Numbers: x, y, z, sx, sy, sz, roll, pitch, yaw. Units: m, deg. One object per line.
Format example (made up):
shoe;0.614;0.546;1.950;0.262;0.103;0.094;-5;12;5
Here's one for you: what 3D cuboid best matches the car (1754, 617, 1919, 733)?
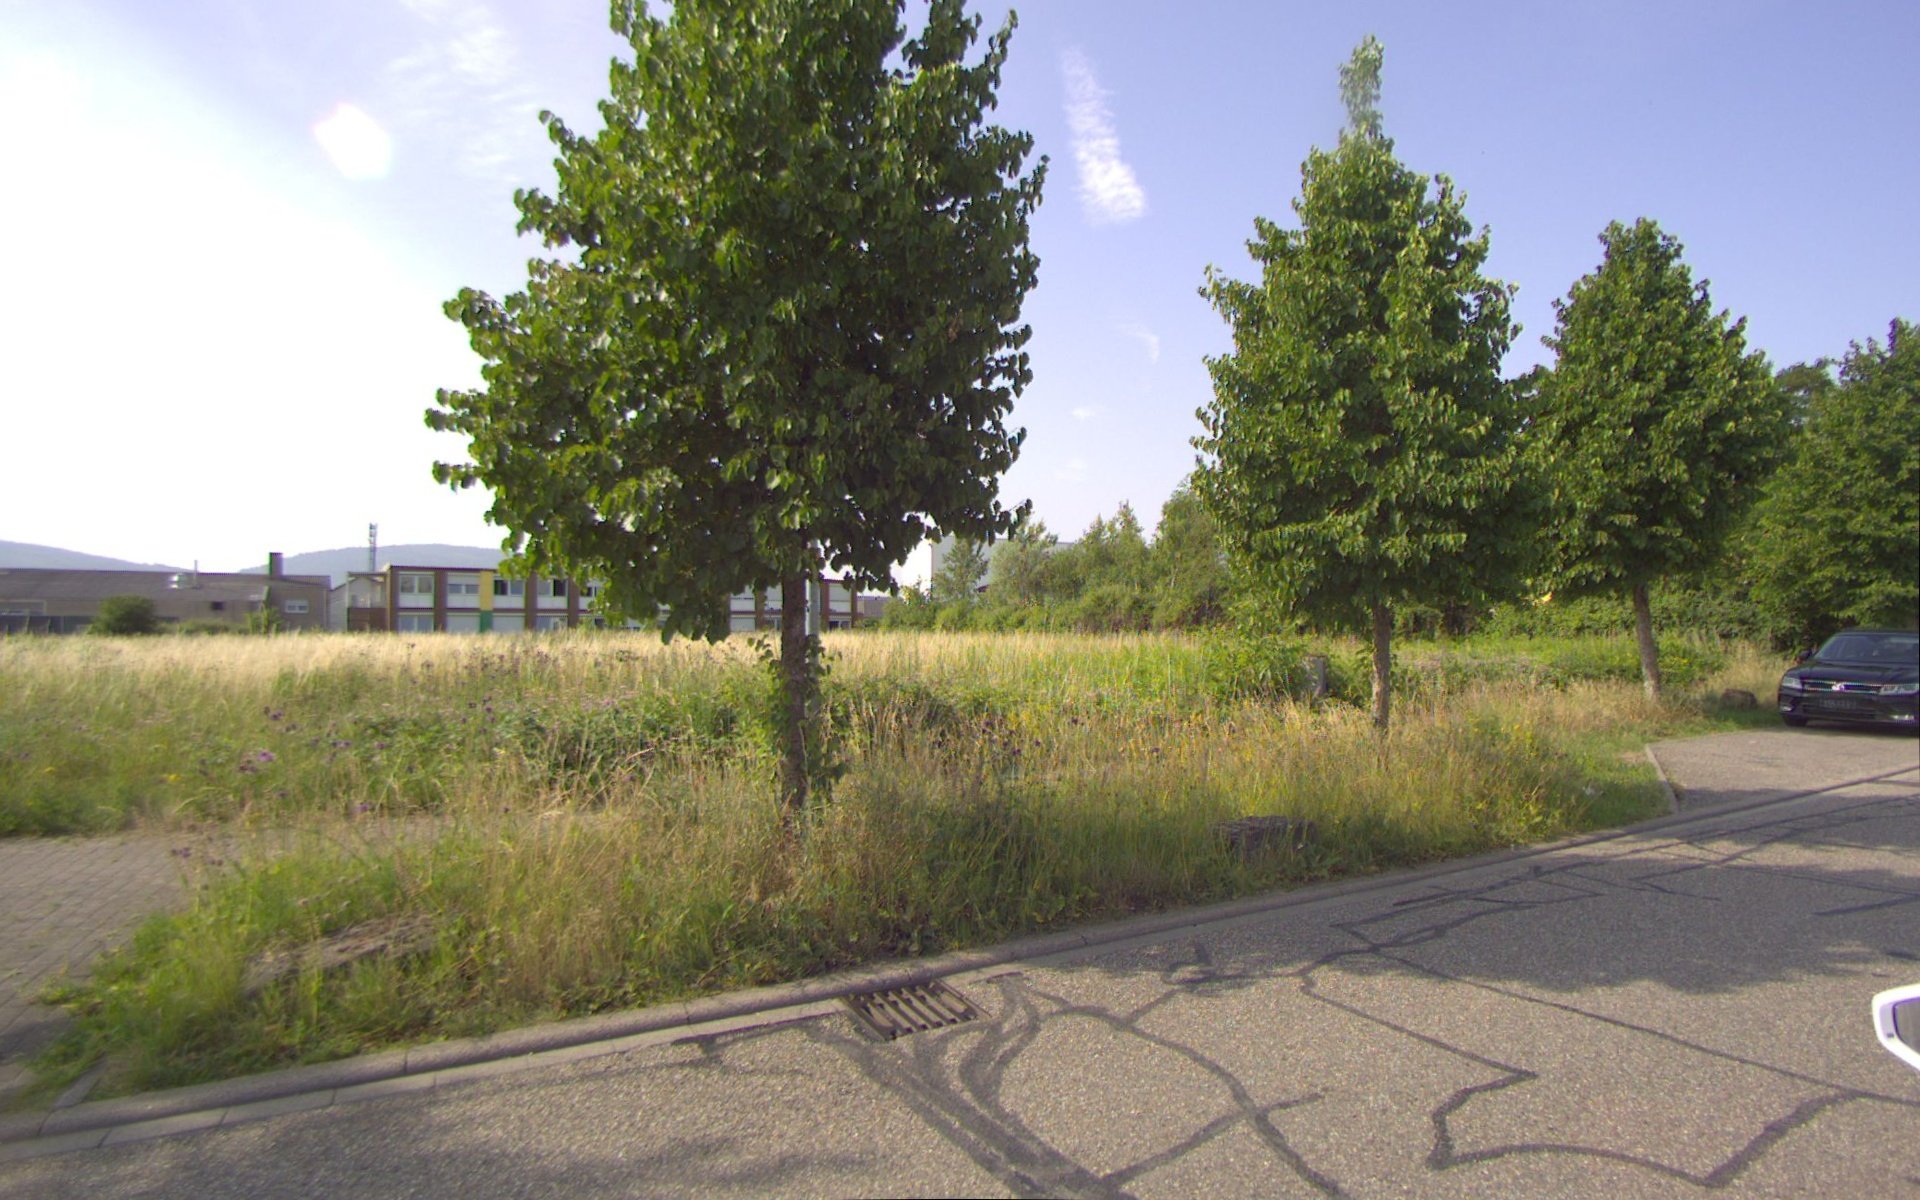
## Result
car;15.155;1.124;16.561;4.400;1.647;1.892;1;0;-32
